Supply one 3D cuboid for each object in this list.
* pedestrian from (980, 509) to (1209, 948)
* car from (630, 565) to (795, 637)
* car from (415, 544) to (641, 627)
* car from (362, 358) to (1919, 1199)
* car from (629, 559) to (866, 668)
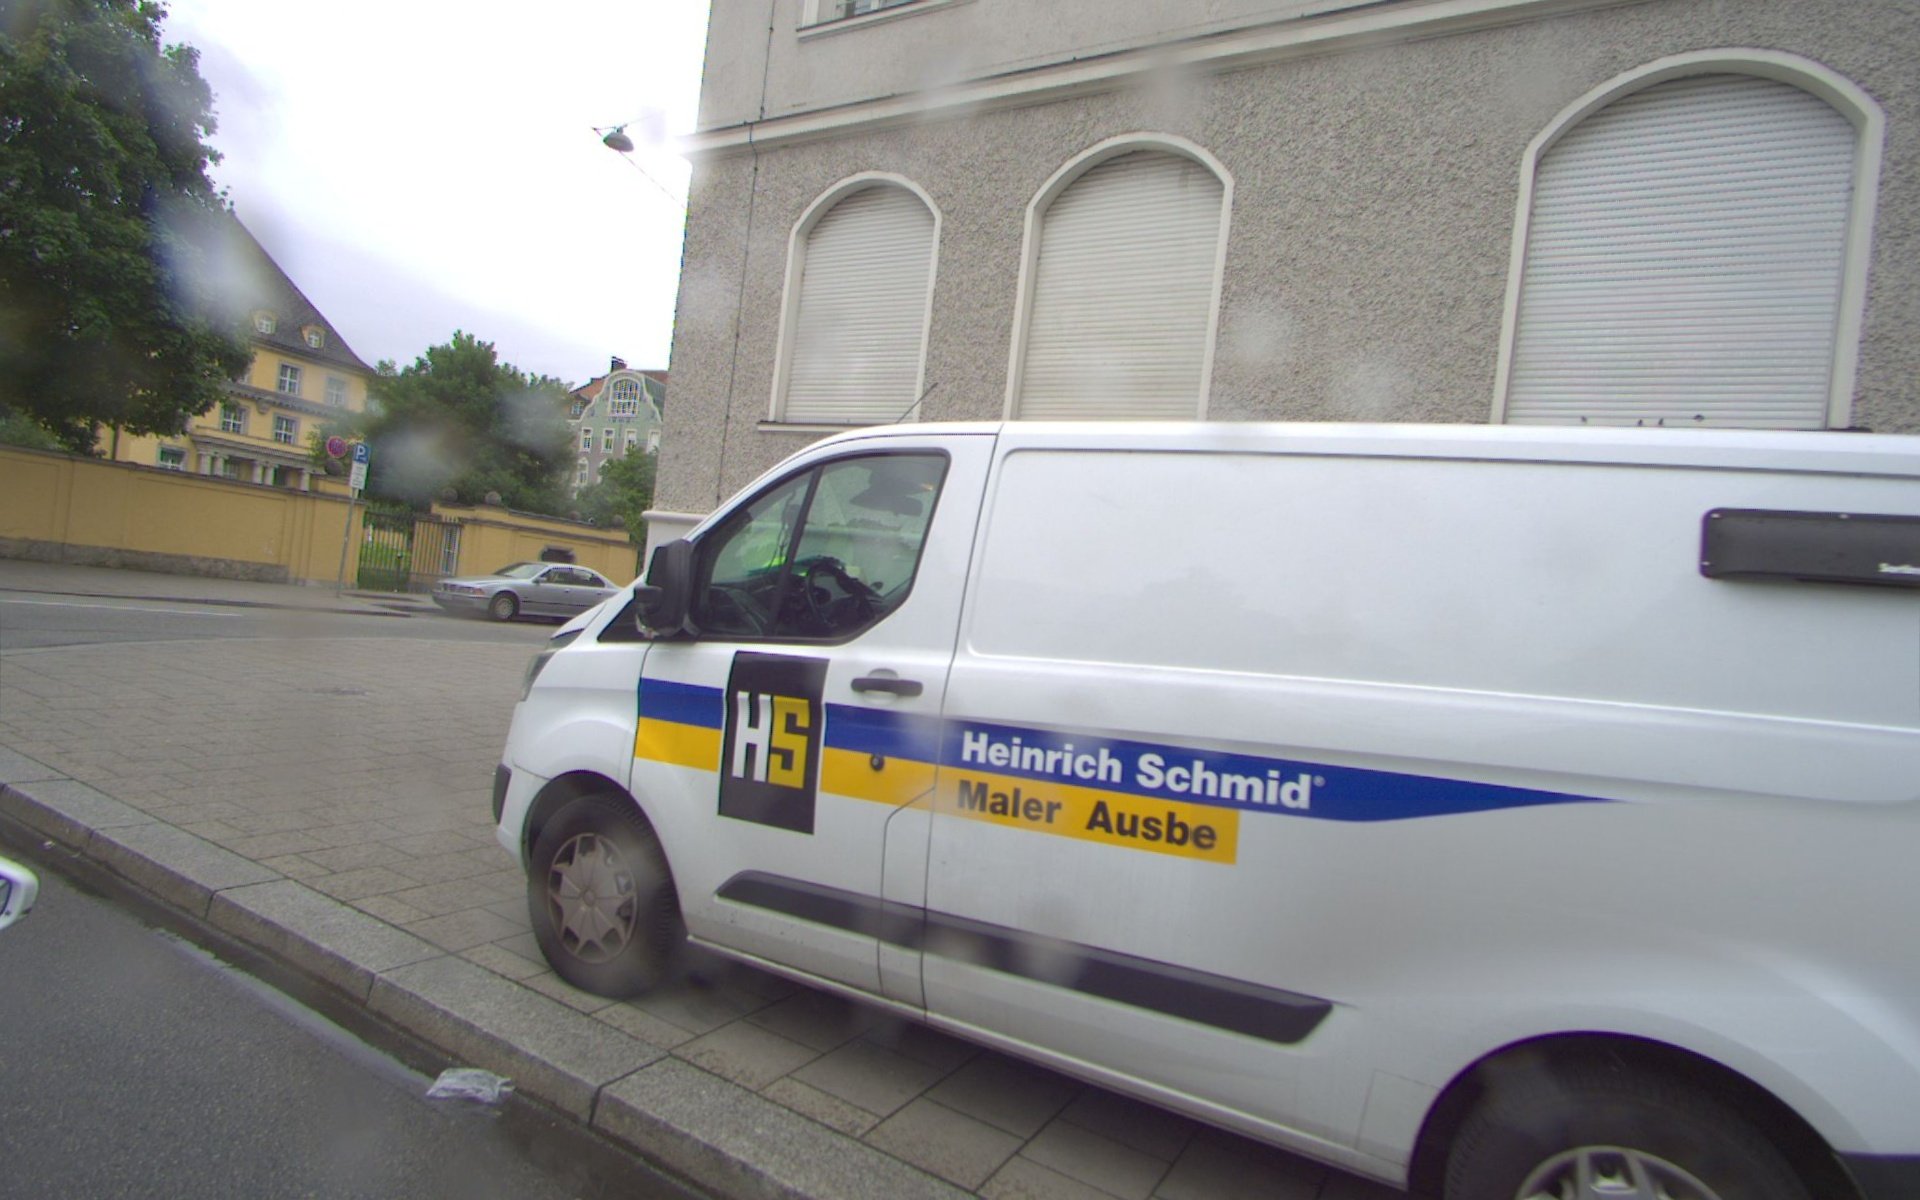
[{"bbox_3d":[0.623,0.571,4.784,0.586,1.911,0.671,6,1,-32],"label":"pedestrian"},{"bbox_3d":[-6.833,0.088,28.292,1.794,1.549,4.565,7,0,29],"label":"car"},{"bbox_3d":[-9.810,-0.271,23.243,1.794,1.419,4.565,7,0,29],"label":"car"},{"bbox_3d":[0.436,0.435,3.408,4.841,1.987,1.918,7,2,28],"label":"car"},{"bbox_3d":[-3.913,0.338,19.338,1.860,1.636,4.413,8,0,30],"label":"car"}]
